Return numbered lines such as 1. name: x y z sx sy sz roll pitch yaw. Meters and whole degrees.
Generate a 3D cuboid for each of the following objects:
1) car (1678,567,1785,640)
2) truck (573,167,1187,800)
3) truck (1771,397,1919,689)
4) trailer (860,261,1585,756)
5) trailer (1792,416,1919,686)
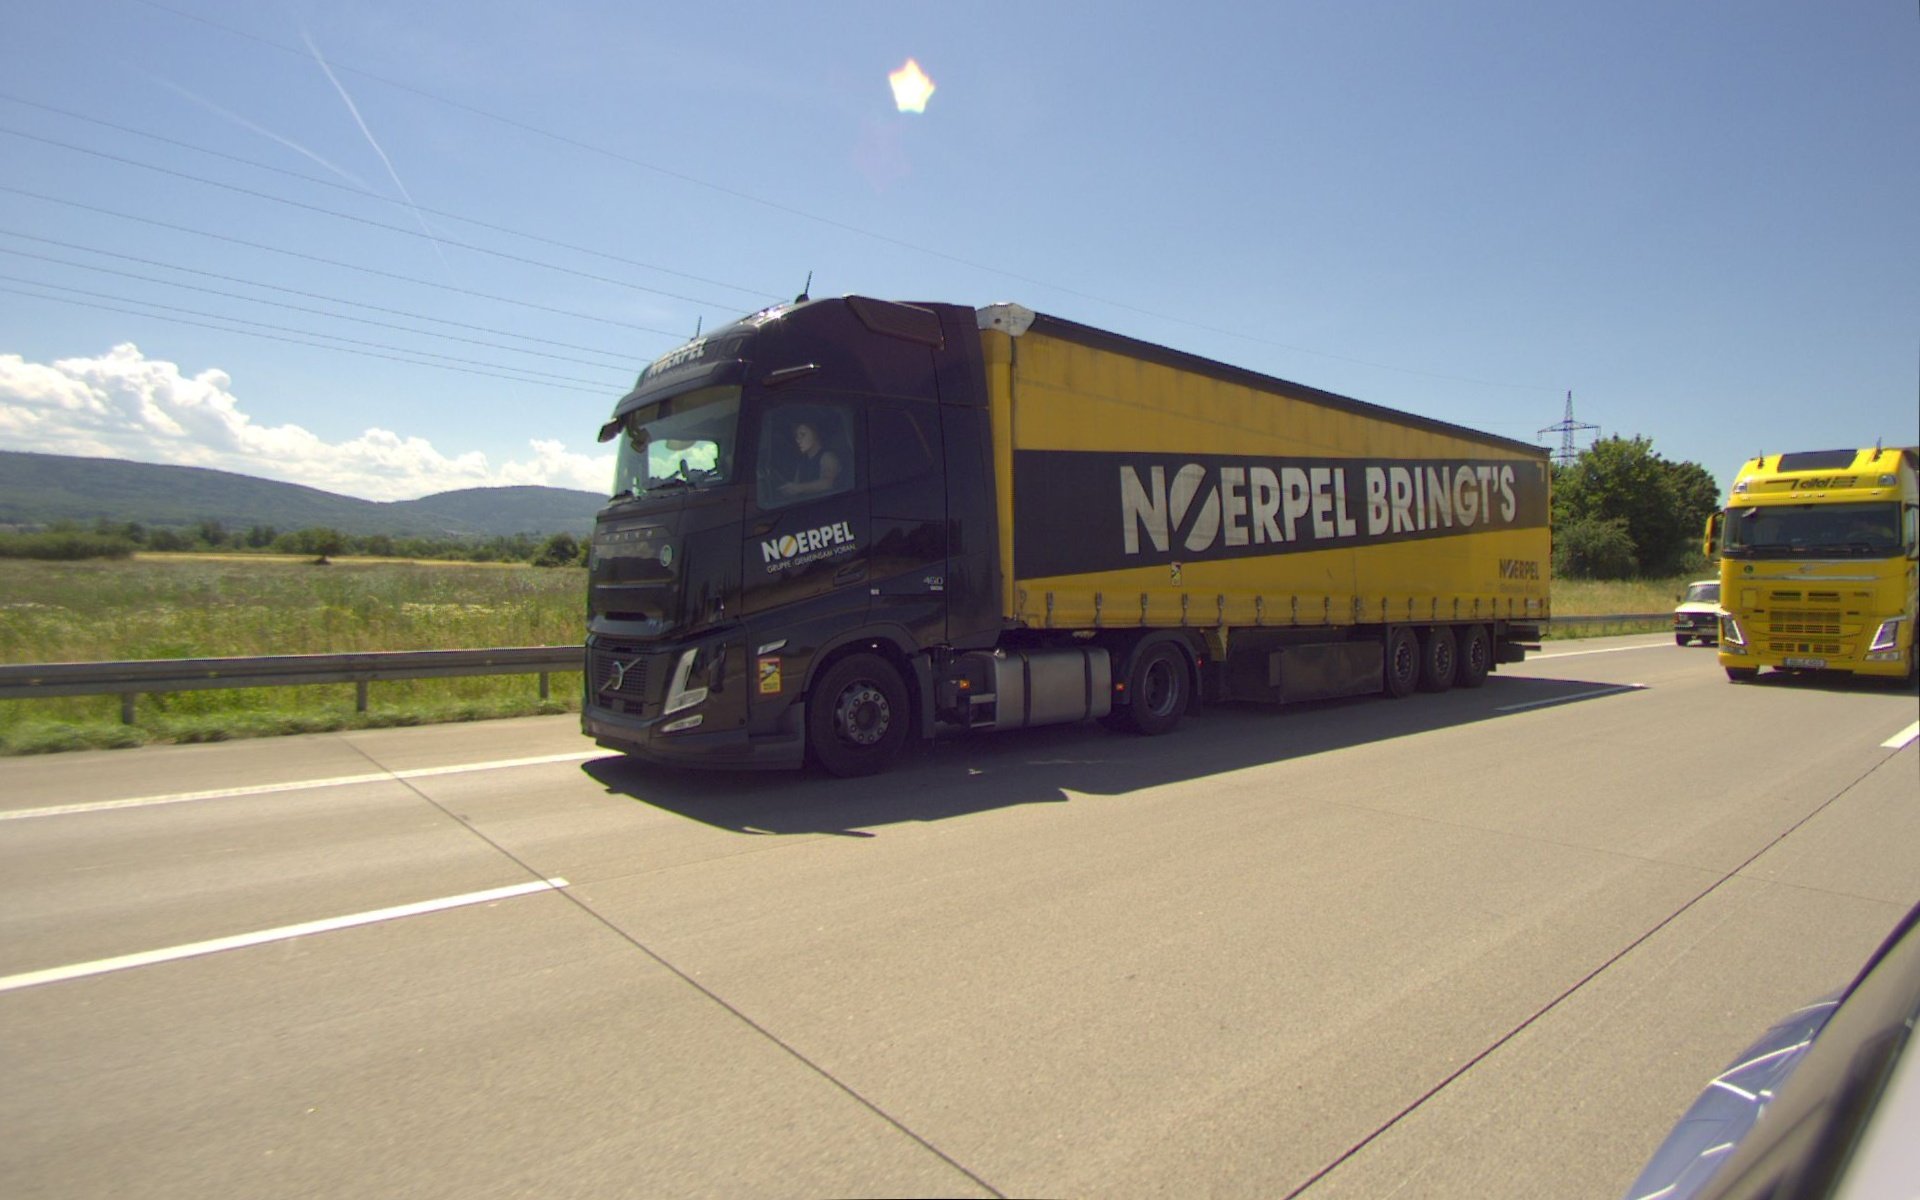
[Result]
1. car: 22.833 0.076 29.925 3.753 2.039 1.787 0 0 -41
2. truck: -0.415 -0.810 9.390 5.606 4.246 1.997 0 0 -41
3. truck: 15.586 -0.861 17.182 5.105 4.308 1.996 0 0 -41
4. trailer: 5.108 -0.851 14.196 14.488 4.246 1.997 -1 0 -41
5. trailer: 20.483 -0.844 21.519 14.937 4.308 1.996 -1 0 -42
